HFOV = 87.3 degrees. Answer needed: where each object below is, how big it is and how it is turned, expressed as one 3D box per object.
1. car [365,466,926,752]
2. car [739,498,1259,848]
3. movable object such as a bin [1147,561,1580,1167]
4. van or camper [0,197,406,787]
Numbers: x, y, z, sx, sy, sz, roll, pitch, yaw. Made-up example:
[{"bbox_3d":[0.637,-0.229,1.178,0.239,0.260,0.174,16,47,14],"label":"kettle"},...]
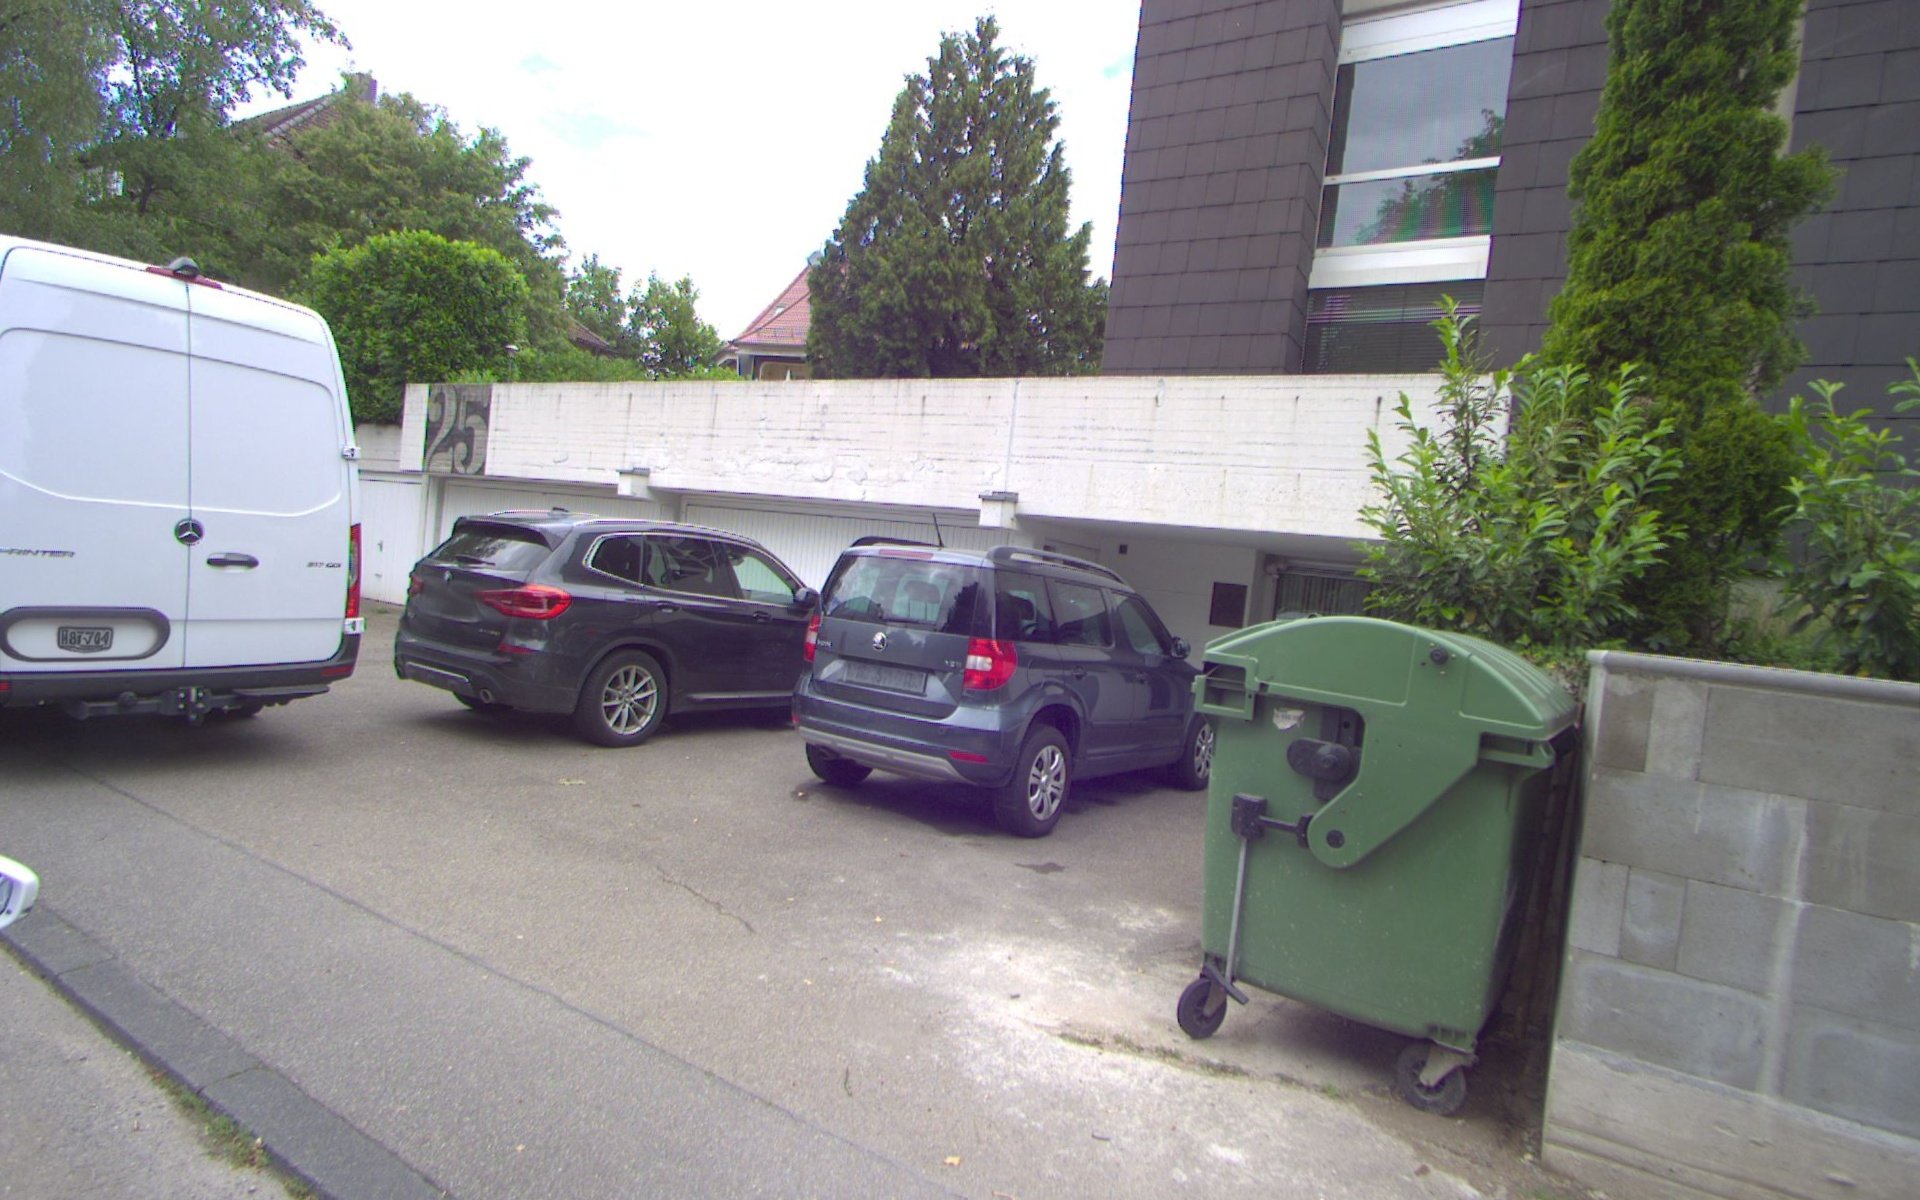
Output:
[{"bbox_3d":[-2.331,0.124,8.668,1.710,1.772,4.419,7,1,33],"label":"car"},{"bbox_3d":[0.565,0.452,7.387,1.804,1.772,3.973,7,1,35],"label":"car"},{"bbox_3d":[1.384,0.725,3.381,1.016,1.550,1.034,7,1,33],"label":"movable object such as a bin"},{"bbox_3d":[-6.675,-0.733,6.890,6.432,2.653,1.995,7,1,32],"label":"van or camper"}]
